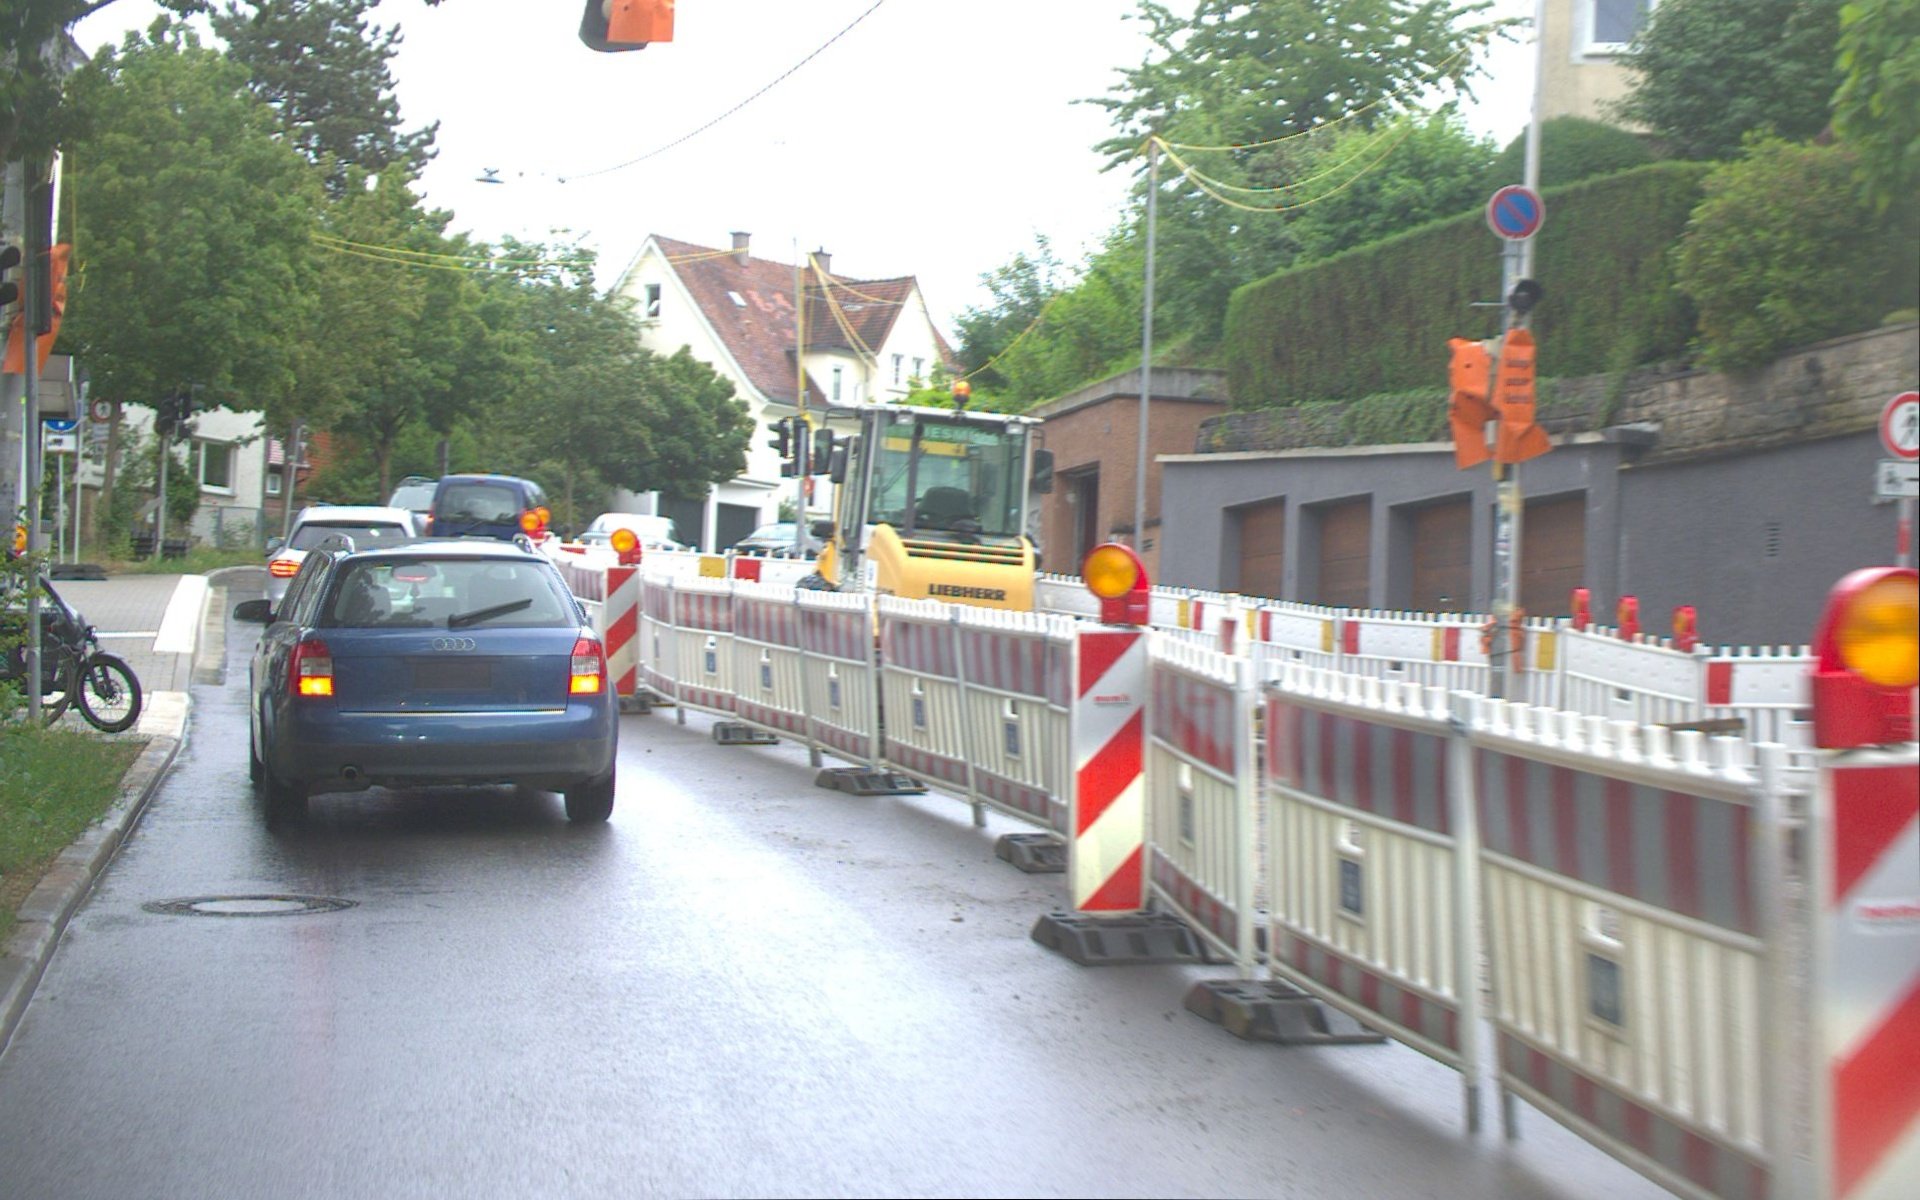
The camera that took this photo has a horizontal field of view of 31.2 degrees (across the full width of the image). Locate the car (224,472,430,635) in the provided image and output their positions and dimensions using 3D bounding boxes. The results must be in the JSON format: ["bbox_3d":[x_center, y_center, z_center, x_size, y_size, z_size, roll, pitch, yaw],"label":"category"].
[{"bbox_3d":[-6.738,-0.451,36.293,1.925,1.612,4.321,0,0,-13],"label":"car"}]

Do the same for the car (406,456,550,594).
[{"bbox_3d":[-7.143,-1.071,50.734,1.993,1.788,4.000,-1,-2,-9],"label":"car"}]

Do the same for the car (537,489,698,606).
[{"bbox_3d":[-6.050,-0.898,61.194,1.994,2.007,3.999,0,0,7],"label":"car"}]

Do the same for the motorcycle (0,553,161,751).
[{"bbox_3d":[-6.499,0.307,22.071,2.597,1.230,0.890,2,0,-10],"label":"motorcycle"}]

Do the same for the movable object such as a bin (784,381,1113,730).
[{"bbox_3d":[-0.179,-0.423,27.779,1.993,2.604,4.002,0,3,-10],"label":"movable object such as a bin"}]

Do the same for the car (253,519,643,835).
[{"bbox_3d":[-2.766,0.403,18.170,1.785,1.437,3.964,-1,-1,-10],"label":"car"}]
